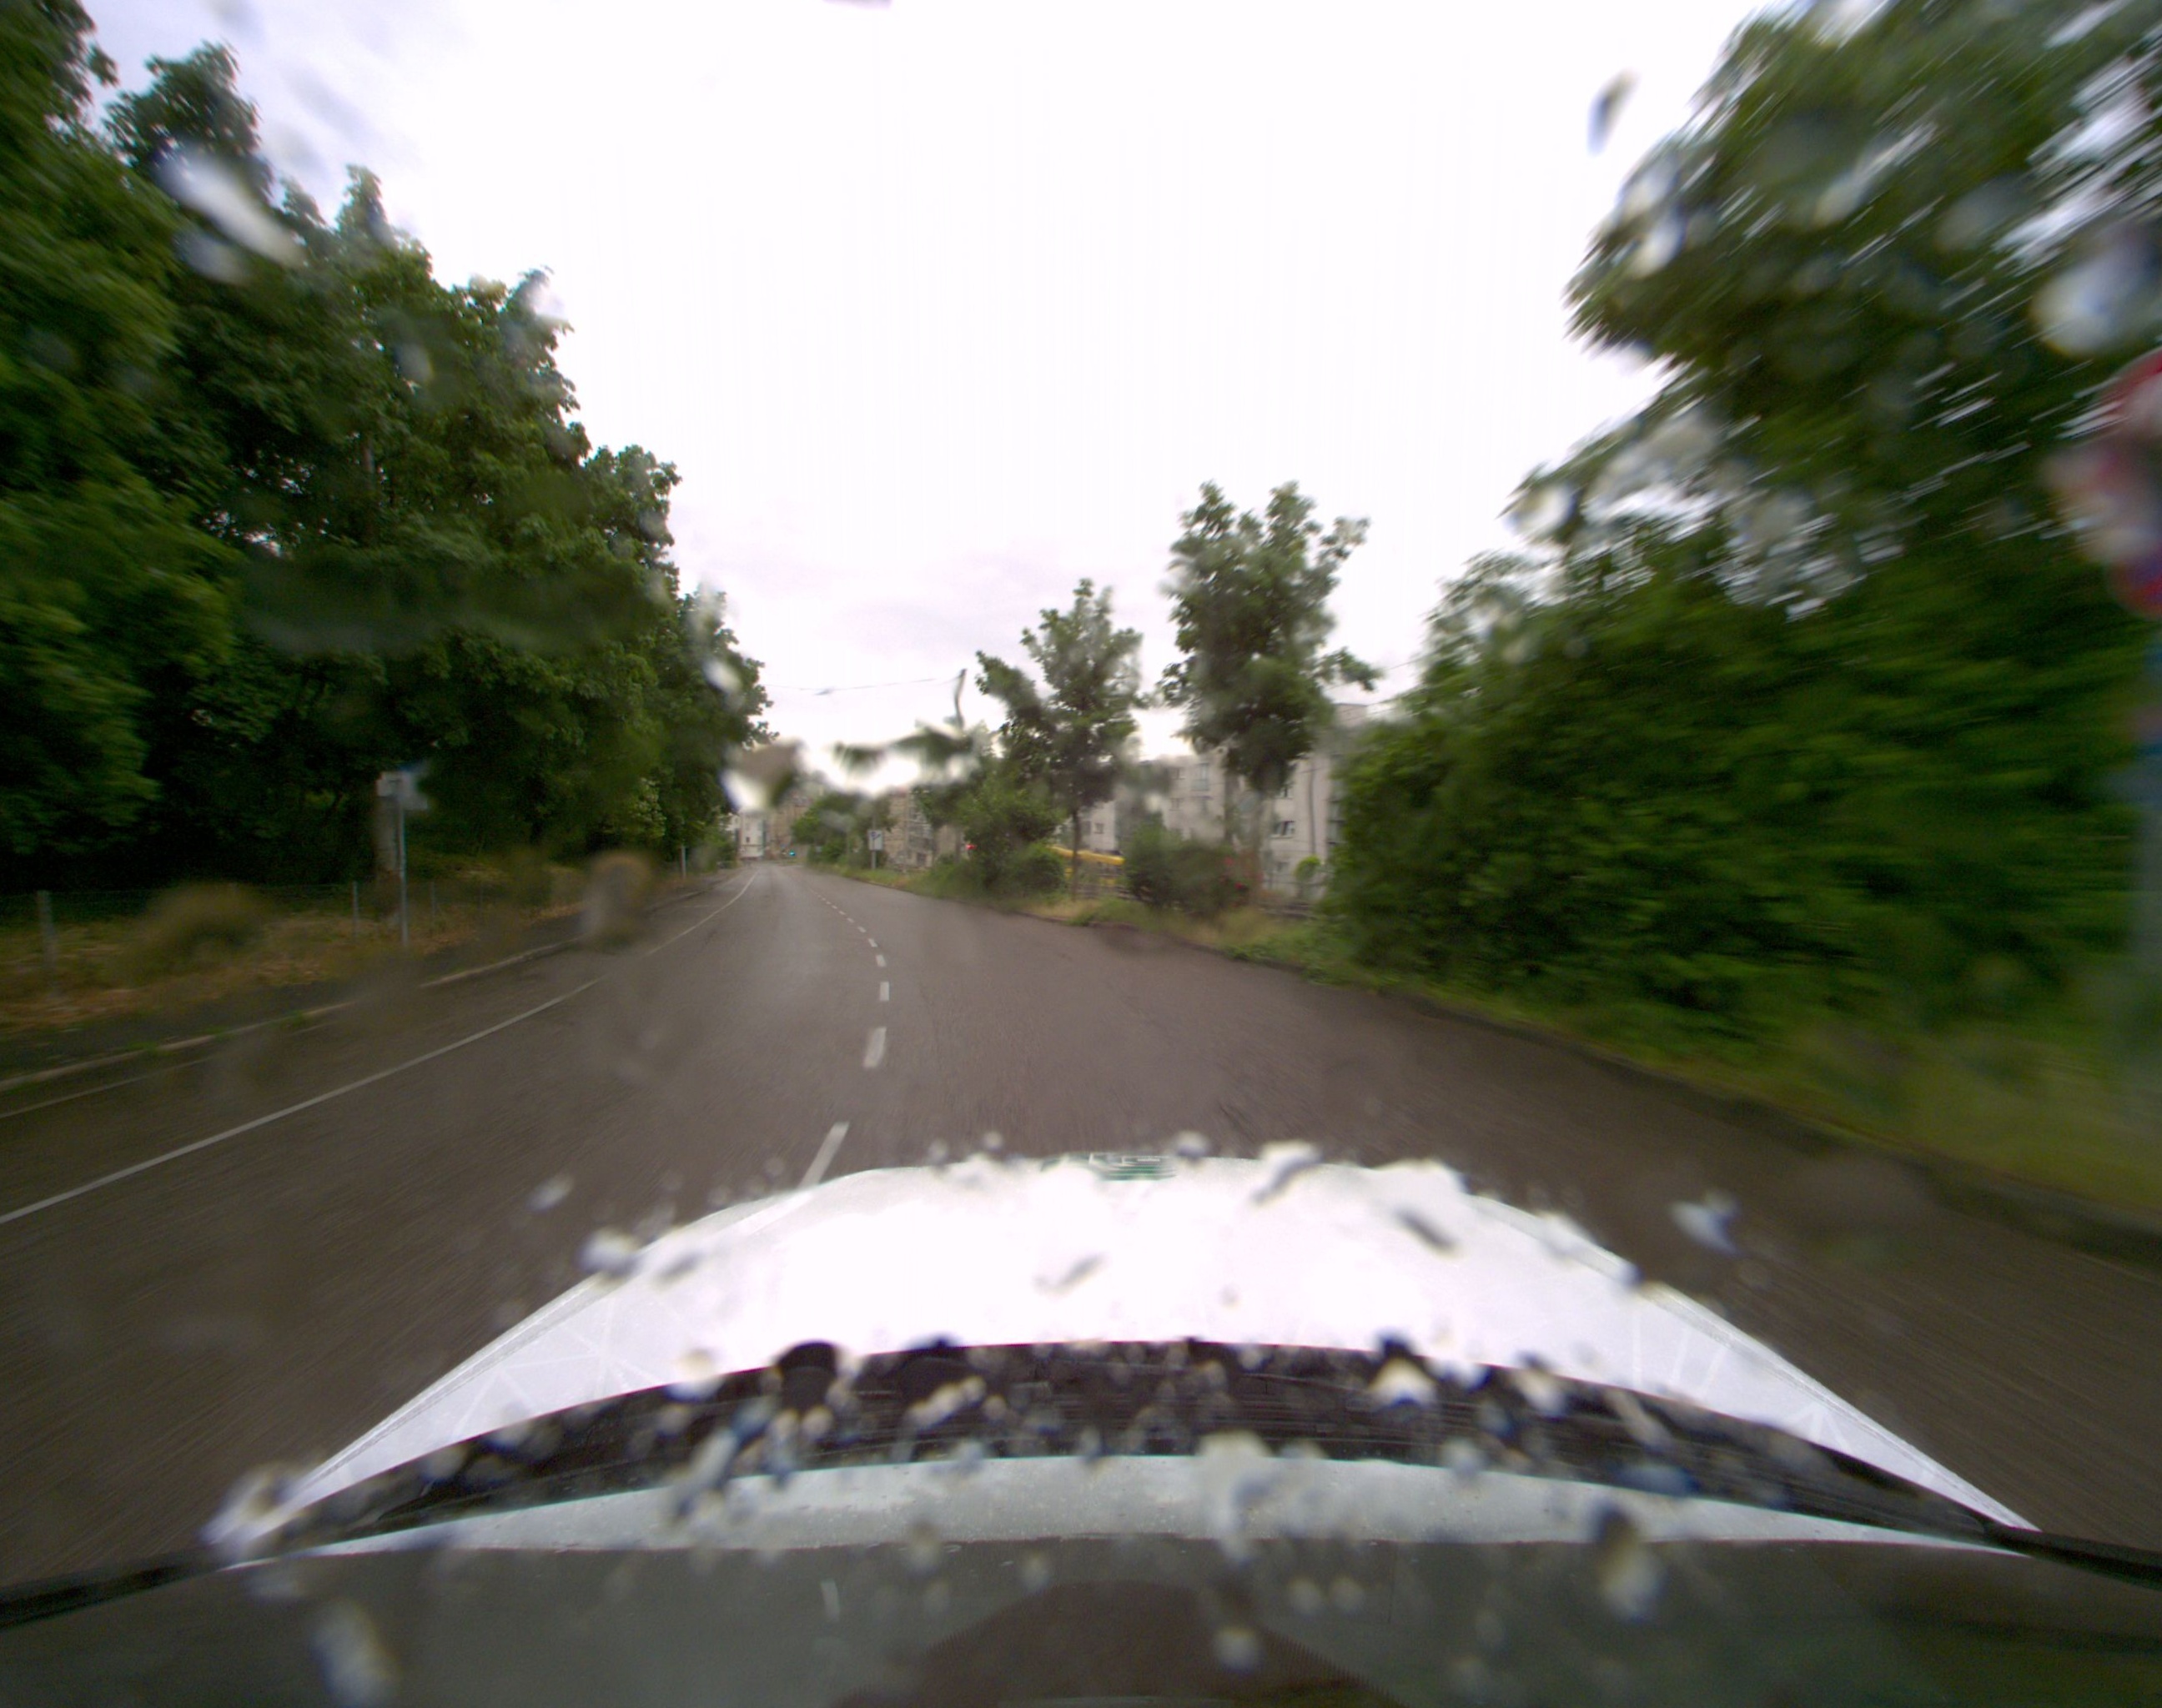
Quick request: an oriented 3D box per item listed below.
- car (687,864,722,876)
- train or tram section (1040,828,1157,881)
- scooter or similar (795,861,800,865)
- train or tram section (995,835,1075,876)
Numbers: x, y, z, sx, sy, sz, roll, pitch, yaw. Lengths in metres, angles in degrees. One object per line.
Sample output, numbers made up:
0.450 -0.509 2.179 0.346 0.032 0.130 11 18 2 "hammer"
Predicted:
-45.690 1.964 98.821 3.643 1.407 1.771 0 -1 -20 "car"
0.900 0.108 69.570 3.342 3.947 19.151 0 0 -20 "train or tram section"
-59.717 1.947 171.621 0.482 0.761 1.332 -1 0 7 "scooter or similar"
-5.255 0.210 86.732 3.342 3.947 18.686 0 0 -20 "train or tram section"
